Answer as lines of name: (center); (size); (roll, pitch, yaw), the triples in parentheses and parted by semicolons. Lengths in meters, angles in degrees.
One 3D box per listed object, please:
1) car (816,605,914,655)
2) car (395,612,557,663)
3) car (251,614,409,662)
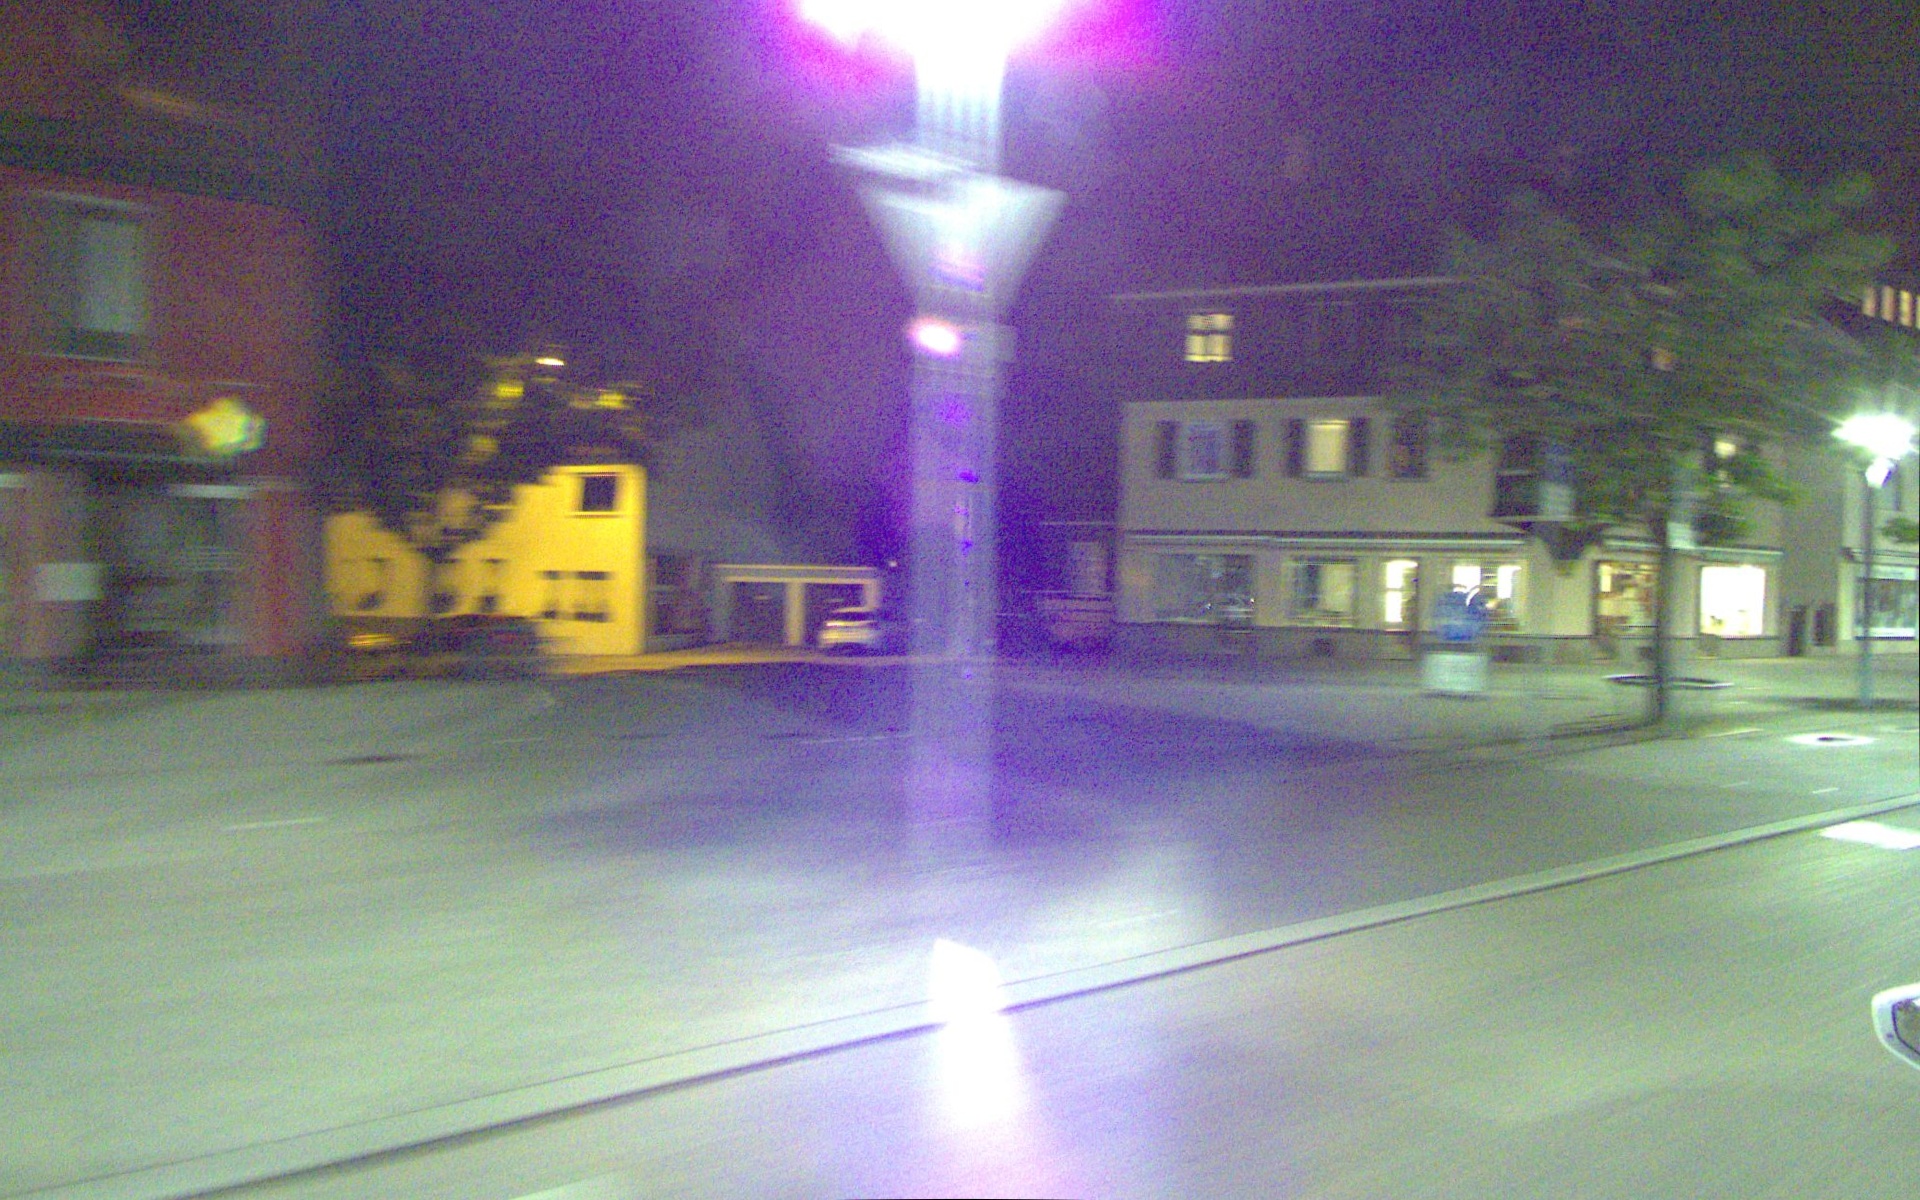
car: (-2.855, 0.881, 31.118); (1.882, 1.461, 4.002); (0, 0, 12)
car: (-13.765, 1.053, 28.626); (3.919, 1.394, 1.822); (-1, -1, 14)
car: (-18.854, 1.134, 30.124); (3.919, 1.394, 1.822); (-1, -1, 14)
